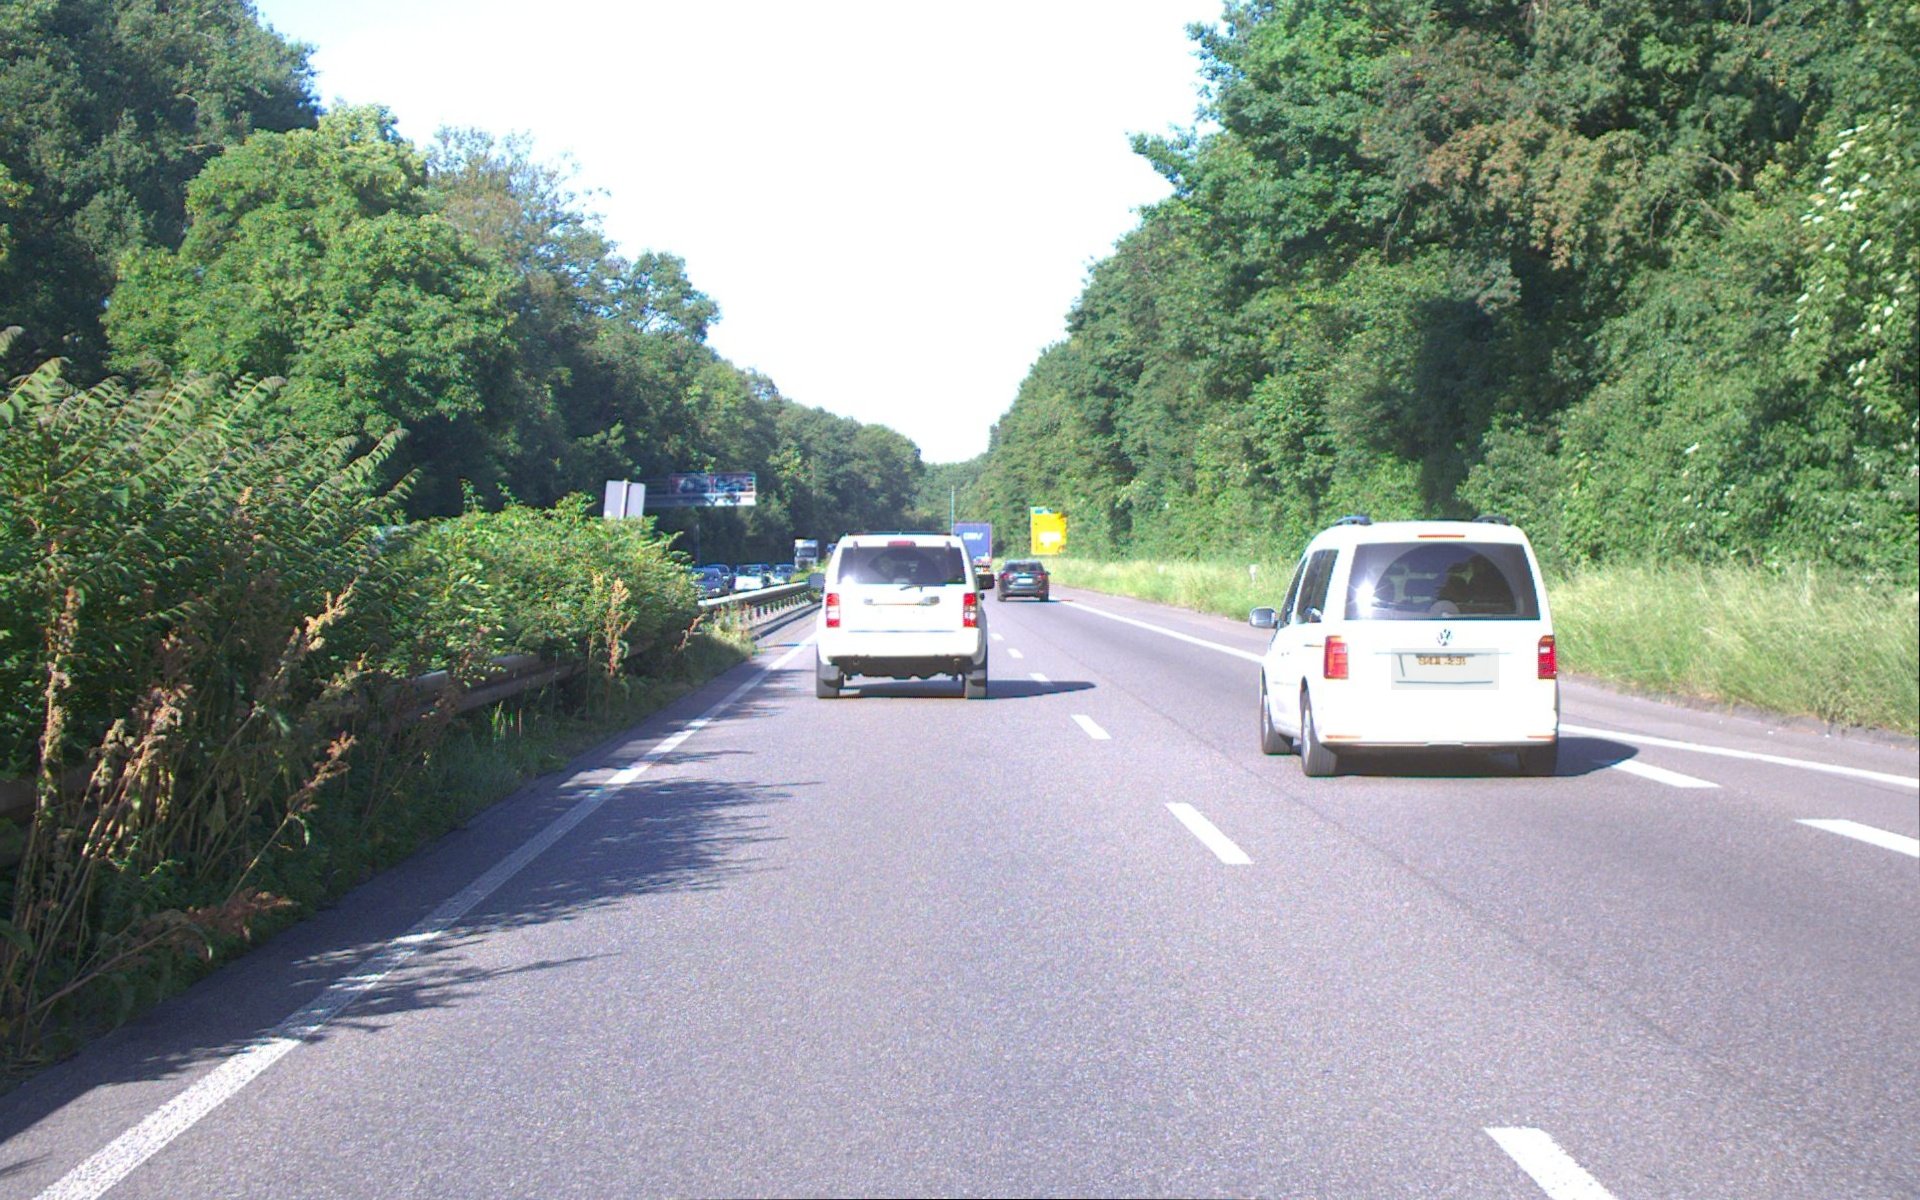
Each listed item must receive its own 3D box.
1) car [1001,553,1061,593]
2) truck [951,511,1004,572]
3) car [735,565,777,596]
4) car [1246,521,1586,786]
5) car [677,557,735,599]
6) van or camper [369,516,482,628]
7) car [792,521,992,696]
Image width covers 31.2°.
[{"bbox_3d":[2.529,-0.976,123.646,1.993,1.393,4.000,1,1,-1],"label":"car"},{"bbox_3d":[1.180,-4.051,239.835,3.496,4.158,8.862,-1,1,-1],"label":"truck"},{"bbox_3d":[-10.203,-0.991,172.398,1.877,1.535,4.465,-1,1,-1],"label":"car"},{"bbox_3d":[3.245,0.330,25.291,1.863,1.764,4.470,0,1,0],"label":"car"},{"bbox_3d":[-9.666,-0.844,131.049,1.960,1.535,4.465,0,1,-1],"label":"car"},{"bbox_3d":[-13.321,-0.716,85.957,1.993,2.712,5.254,-1,1,0],"label":"van or camper"},{"bbox_3d":[-0.797,0.062,37.763,2.085,1.822,4.000,0,1,-3],"label":"car"}]
